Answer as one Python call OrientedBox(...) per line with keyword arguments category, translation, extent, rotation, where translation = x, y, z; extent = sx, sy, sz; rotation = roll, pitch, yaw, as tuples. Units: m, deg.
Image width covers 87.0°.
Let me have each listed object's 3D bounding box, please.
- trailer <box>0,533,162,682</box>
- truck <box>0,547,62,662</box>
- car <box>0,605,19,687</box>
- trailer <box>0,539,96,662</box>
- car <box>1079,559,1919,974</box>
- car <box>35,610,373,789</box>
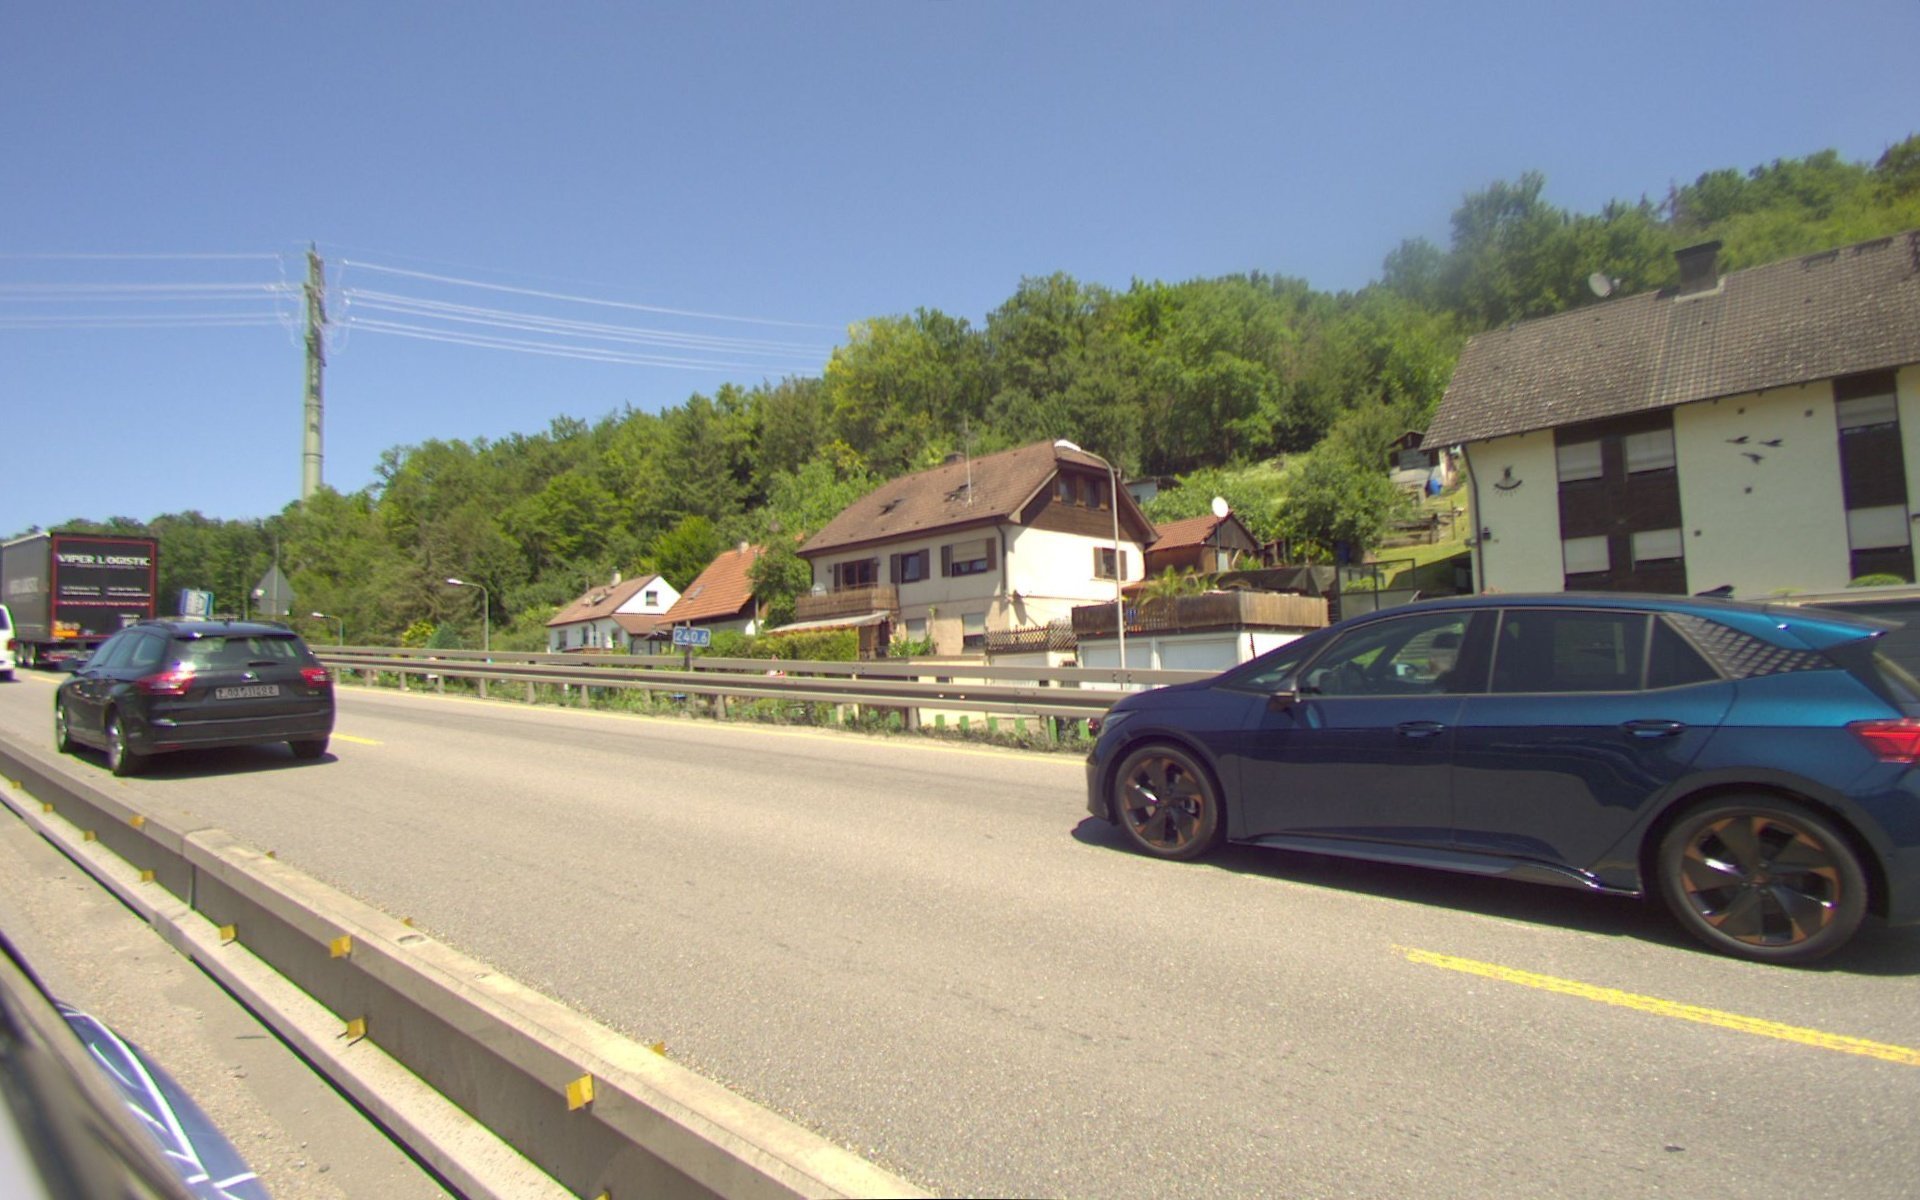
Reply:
OrientedBox(category="trailer", translation=(-27.876, 0.328, 31.762), extent=(8.626, 4.101, 2.730), rotation=(-2, -1, 40))
OrientedBox(category="truck", translation=(-37.580, 0.218, 39.738), extent=(4.952, 4.316, 2.725), rotation=(-2, -1, 39))
OrientedBox(category="car", translation=(-25.411, 1.113, 25.436), extent=(4.895, 1.975, 2.002), rotation=(0, 0, 40))
OrientedBox(category="trailer", translation=(-34.306, 0.144, 37.070), extent=(7.999, 4.101, 2.730), rotation=(-2, -1, 40))
OrientedBox(category="car", translation=(2.920, 0.612, 5.485), extent=(4.255, 1.528, 1.823), rotation=(0, 0, 41))
OrientedBox(category="car", translation=(-8.416, 0.888, 11.100), extent=(4.645, 1.515, 1.973), rotation=(0, 0, 40))
